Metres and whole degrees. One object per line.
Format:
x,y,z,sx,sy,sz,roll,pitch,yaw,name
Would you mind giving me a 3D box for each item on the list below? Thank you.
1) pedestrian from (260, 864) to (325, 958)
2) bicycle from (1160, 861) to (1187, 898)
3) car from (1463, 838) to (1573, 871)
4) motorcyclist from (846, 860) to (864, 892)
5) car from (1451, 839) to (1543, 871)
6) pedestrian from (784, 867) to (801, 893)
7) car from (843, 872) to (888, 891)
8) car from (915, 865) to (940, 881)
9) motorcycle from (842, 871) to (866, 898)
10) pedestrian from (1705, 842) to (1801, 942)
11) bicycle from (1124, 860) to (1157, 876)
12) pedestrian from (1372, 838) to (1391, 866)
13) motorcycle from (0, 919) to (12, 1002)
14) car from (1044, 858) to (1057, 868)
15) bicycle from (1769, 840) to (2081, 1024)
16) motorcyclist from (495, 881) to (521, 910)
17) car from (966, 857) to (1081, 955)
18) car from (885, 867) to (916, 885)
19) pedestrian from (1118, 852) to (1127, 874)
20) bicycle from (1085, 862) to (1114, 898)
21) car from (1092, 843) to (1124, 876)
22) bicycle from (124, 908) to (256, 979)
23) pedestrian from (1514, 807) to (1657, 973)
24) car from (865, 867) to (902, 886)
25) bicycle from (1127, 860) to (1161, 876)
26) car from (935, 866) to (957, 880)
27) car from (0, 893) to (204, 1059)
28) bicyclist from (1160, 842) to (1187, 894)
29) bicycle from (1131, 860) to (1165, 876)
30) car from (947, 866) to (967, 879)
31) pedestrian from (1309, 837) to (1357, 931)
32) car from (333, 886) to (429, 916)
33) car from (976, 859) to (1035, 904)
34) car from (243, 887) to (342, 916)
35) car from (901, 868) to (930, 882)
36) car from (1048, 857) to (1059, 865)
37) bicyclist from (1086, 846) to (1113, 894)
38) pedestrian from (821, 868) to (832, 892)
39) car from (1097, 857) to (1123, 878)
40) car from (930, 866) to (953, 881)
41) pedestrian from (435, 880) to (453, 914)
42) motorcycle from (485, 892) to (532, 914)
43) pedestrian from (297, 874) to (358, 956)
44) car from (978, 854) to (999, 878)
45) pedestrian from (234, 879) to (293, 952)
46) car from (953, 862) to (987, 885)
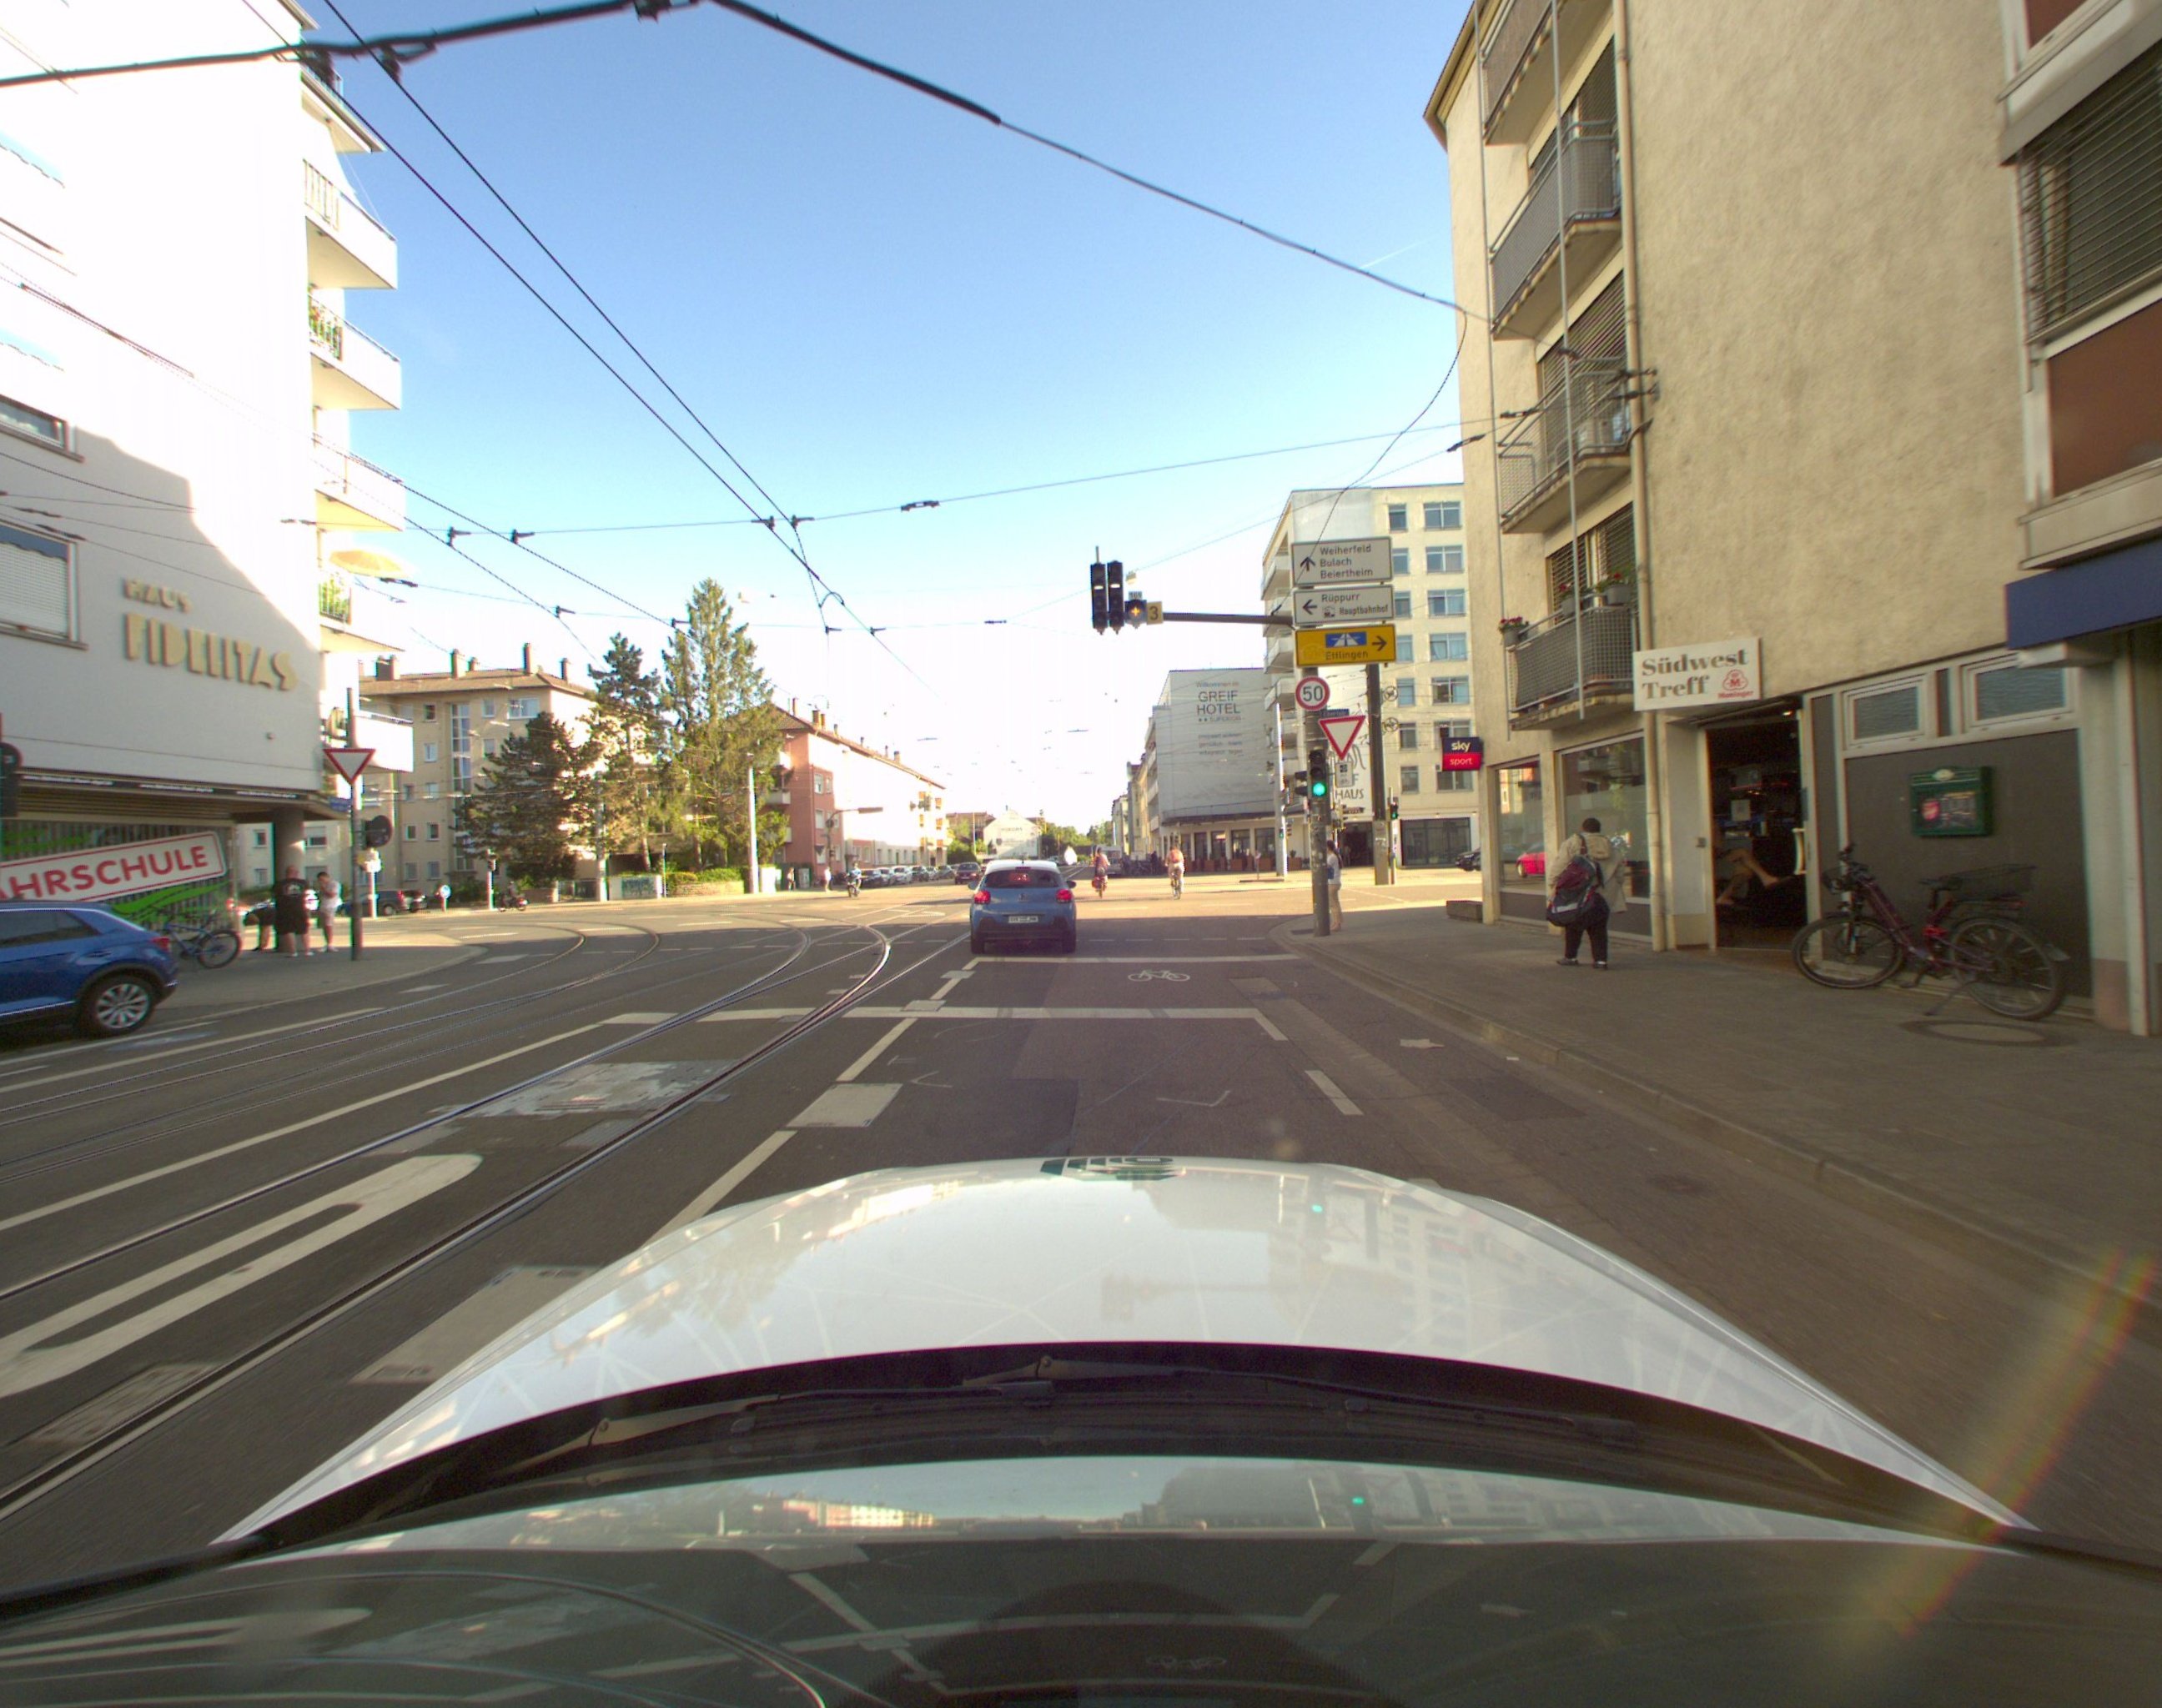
-16.327,1.166,16.873,0.568,1.900,0.742,-2,-3,19,pedestrian
3.098,0.829,27.080,0.806,1.181,2.069,0,-1,9,bicycle
21.788,0.040,40.743,4.417,1.548,1.939,-1,-1,5,car
-10.910,1.059,39.306,0.692,1.497,0.683,-2,-2,-4,motorcyclist
22.262,0.071,43.715,4.017,1.576,1.796,-1,-1,2,car
-18.938,1.703,53.476,0.696,1.722,0.789,-1,-1,43,pedestrian
-16.275,2.110,61.737,2.147,1.432,4.439,0,-2,0,car
-15.847,1.982,84.338,1.864,1.576,3.998,0,-1,-1,car
-10.893,1.470,39.144,0.710,1.220,1.963,-2,-2,-3,motorcycle
7.785,0.422,9.442,0.627,1.087,0.672,-3,0,-33,pedestrian
4.295,0.999,58.983,2.244,1.001,0.856,-3,-1,-1,bicycle
19.027,-0.131,51.603,0.903,1.746,0.737,0,-1,1,pedestrian
-15.183,1.460,10.419,0.604,1.134,1.797,0,-1,1,motorcycle
-6.028,1.825,161.835,2.210,1.932,4.951,0,-1,2,car
6.168,0.514,6.120,0.494,1.161,1.778,-2,-1,2,bicycle
-29.620,2.132,42.109,0.722,1.488,0.860,0,-1,9,motorcyclist
-1.044,0.807,14.280,1.734,1.452,3.655,-1,-1,-6,car
-15.817,1.940,71.595,1.735,1.526,4.231,0,-1,1,car
3.095,0.676,60.445,0.610,1.654,0.672,0,-1,3,pedestrian
0.667,0.913,29.006,0.936,1.223,2.096,0,-1,3,bicycle
2.066,0.440,63.703,2.258,2.482,5.007,-1,-1,0,car
-15.614,1.540,14.322,0.548,1.106,1.540,0,-1,3,bicycle
5.270,0.355,8.566,0.883,1.592,0.810,-4,0,-4,pedestrian
-16.179,1.814,66.898,1.896,1.436,4.105,0,-1,3,car
4.473,0.973,57.861,2.244,1.001,0.856,-3,-1,-1,bicycle
-15.694,2.230,94.695,1.864,1.576,3.998,0,-1,-1,car
-11.331,1.230,7.575,1.763,1.503,4.236,0,0,-1,car
3.061,0.454,26.880,0.806,1.692,0.937,0,-1,9,bicyclist
4.635,0.964,56.477,2.244,1.001,0.856,-3,-1,-1,bicycle
-15.169,2.294,100.015,1.864,1.576,3.998,0,-1,-1,car
4.555,0.531,14.715,0.534,1.624,0.737,-7,-3,26,pedestrian
-40.661,2.735,47.368,4.040,1.628,1.874,0,-1,5,car
-2.695,0.951,29.722,1.779,1.522,3.762,0,0,0,car
-46.106,2.754,47.664,4.006,1.598,1.773,0,-1,1,car
-15.836,2.016,78.108,1.940,1.239,4.282,0,-1,0,car
-6.020,1.482,179.500,2.066,1.762,5.038,0,-1,2,car
0.664,0.567,29.054,0.936,1.673,1.080,0,-1,3,bicyclist
-16.631,1.709,53.212,0.514,1.568,0.574,0,-1,2,pedestrian
2.074,0.977,58.653,1.653,1.431,3.886,0,-1,-1,car
-15.497,2.175,90.394,1.864,1.576,3.998,0,-1,-1,car
-36.820,2.472,47.100,0.702,1.886,0.773,0,-1,-31,pedestrian
-29.589,2.530,42.097,1.924,1.047,0.860,0,-1,8,motorcycle
-17.117,1.376,18.507,0.731,1.792,0.663,-2,0,8,pedestrian
-12.545,1.656,110.889,2.409,3.142,3.490,0,-1,2,car
-19.291,1.442,19.225,0.751,1.652,0.704,-6,-4,19,pedestrian
-7.771,1.360,57.268,1.773,1.486,3.827,-3,-1,0,car
